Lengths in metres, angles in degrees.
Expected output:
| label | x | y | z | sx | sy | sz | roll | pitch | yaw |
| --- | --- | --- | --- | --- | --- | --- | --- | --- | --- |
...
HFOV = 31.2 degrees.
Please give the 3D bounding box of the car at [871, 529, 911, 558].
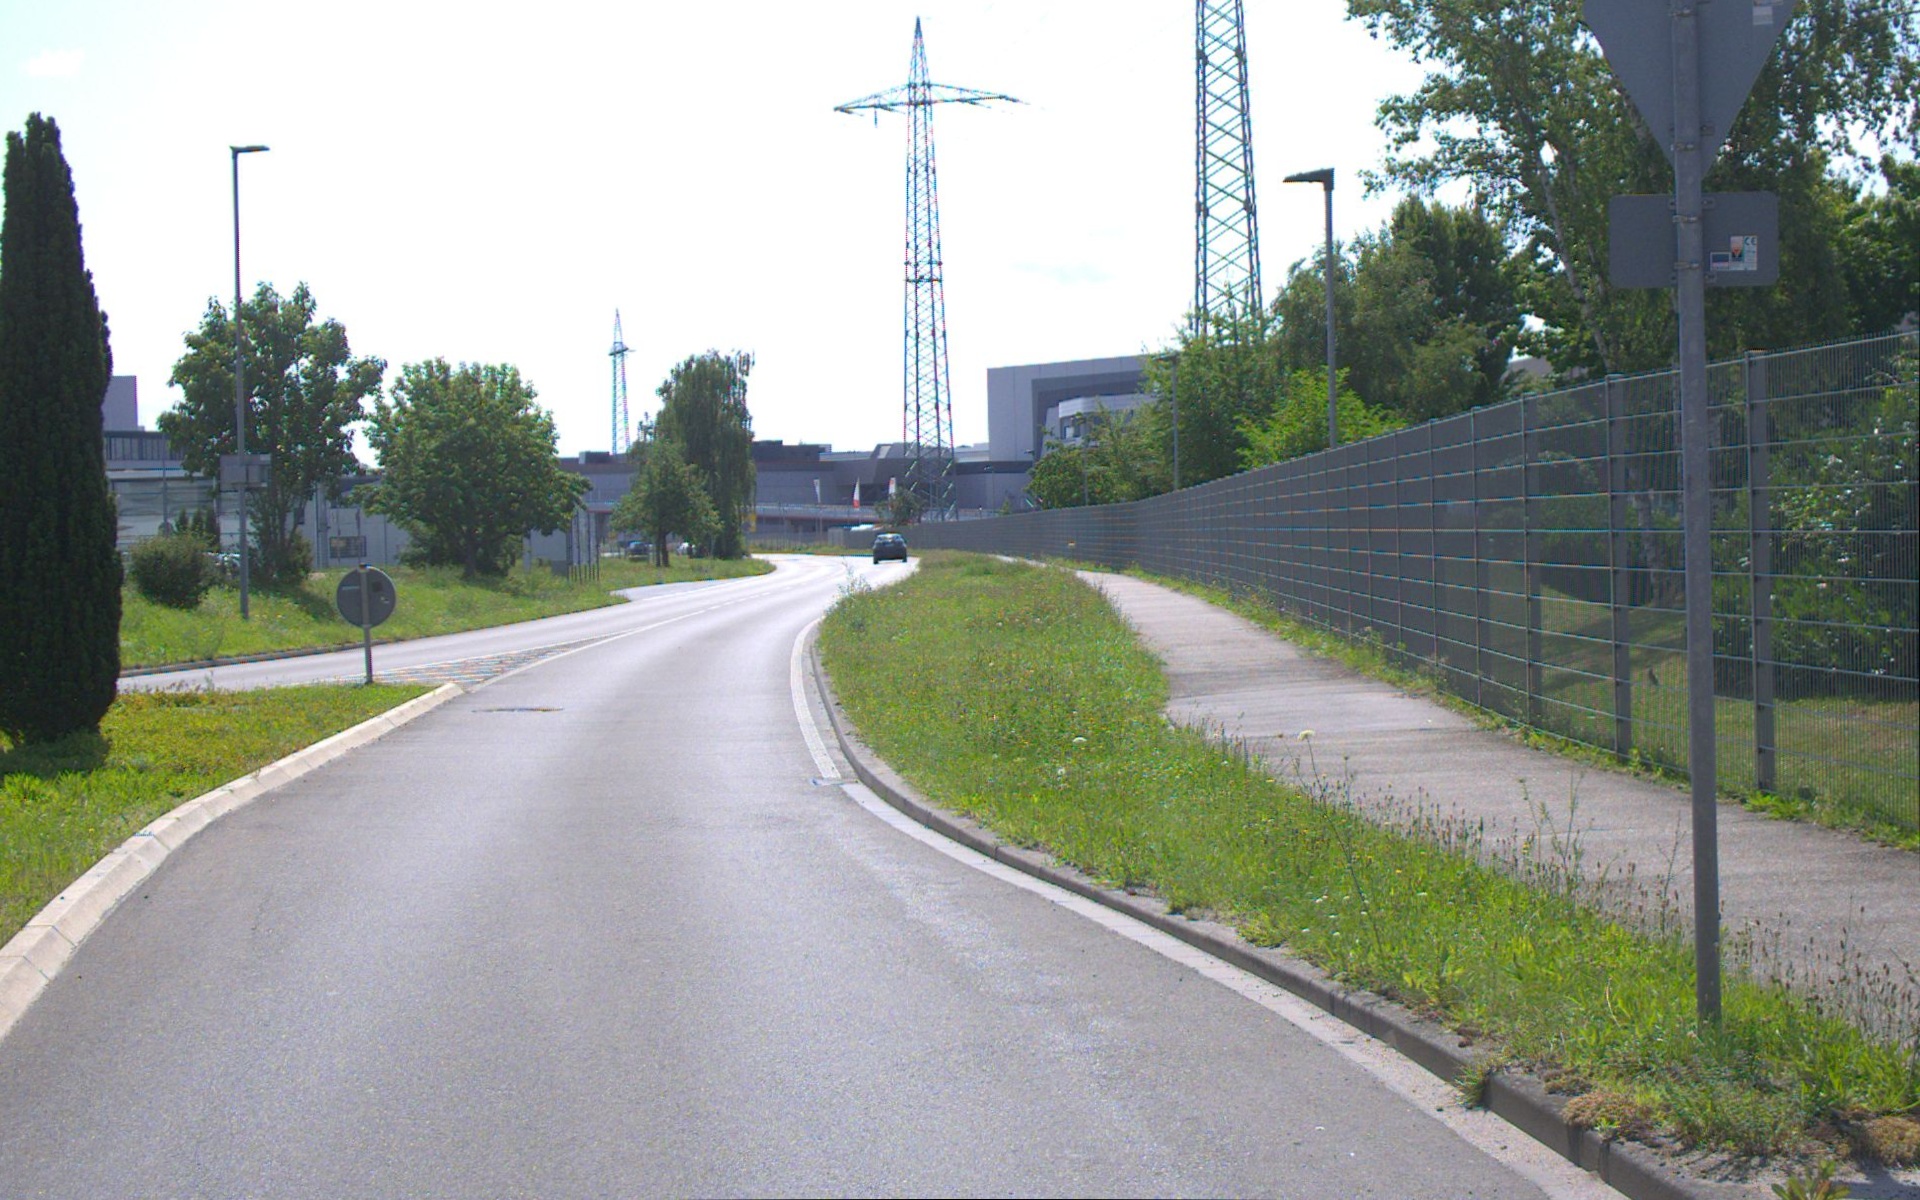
| label | x | y | z | sx | sy | sz | roll | pitch | yaw |
| --- | --- | --- | --- | --- | --- | --- | --- | --- | --- |
| car | -3.703 | -3.013 | 183.771 | 2.012 | 1.503 | 4.001 | -1 | 1 | -3 |
